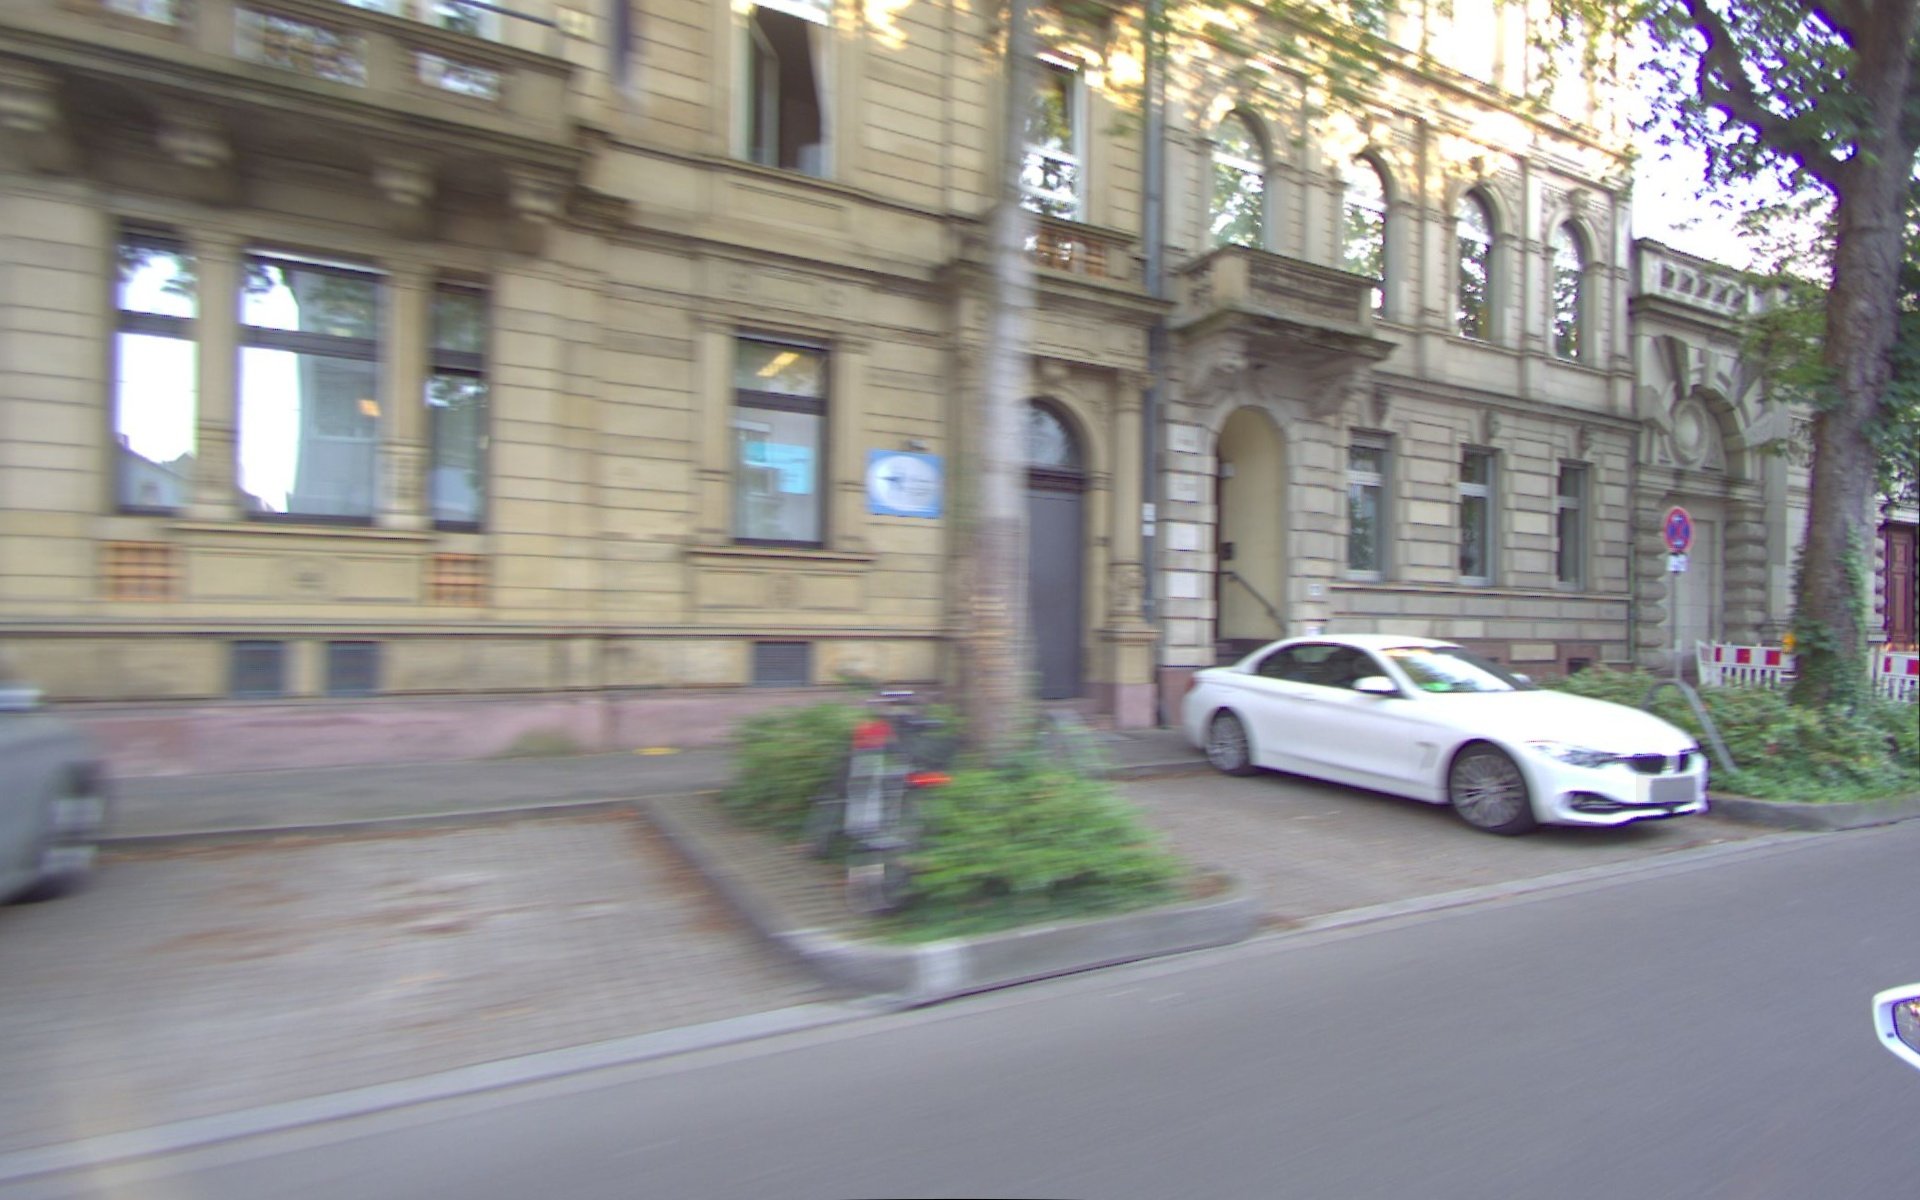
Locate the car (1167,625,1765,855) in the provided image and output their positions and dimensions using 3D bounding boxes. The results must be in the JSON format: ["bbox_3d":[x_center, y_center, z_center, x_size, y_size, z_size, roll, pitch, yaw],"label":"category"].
[{"bbox_3d":[3.986,0.970,8.846,1.891,1.408,4.498,2,-1,-26],"label":"car"}]

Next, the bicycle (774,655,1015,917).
[{"bbox_3d":[-0.422,0.846,5.215,0.591,1.022,1.788,2,-1,-26],"label":"bicycle"}]

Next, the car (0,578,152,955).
[{"bbox_3d":[-4.723,0.674,3.602,1.801,1.577,4.159,1,-1,-24],"label":"car"}]

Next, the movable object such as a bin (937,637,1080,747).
[{"bbox_3d":[0.523,0.964,10.844,1.300,1.076,0.797,1,1,-28],"label":"movable object such as a bin"}]
